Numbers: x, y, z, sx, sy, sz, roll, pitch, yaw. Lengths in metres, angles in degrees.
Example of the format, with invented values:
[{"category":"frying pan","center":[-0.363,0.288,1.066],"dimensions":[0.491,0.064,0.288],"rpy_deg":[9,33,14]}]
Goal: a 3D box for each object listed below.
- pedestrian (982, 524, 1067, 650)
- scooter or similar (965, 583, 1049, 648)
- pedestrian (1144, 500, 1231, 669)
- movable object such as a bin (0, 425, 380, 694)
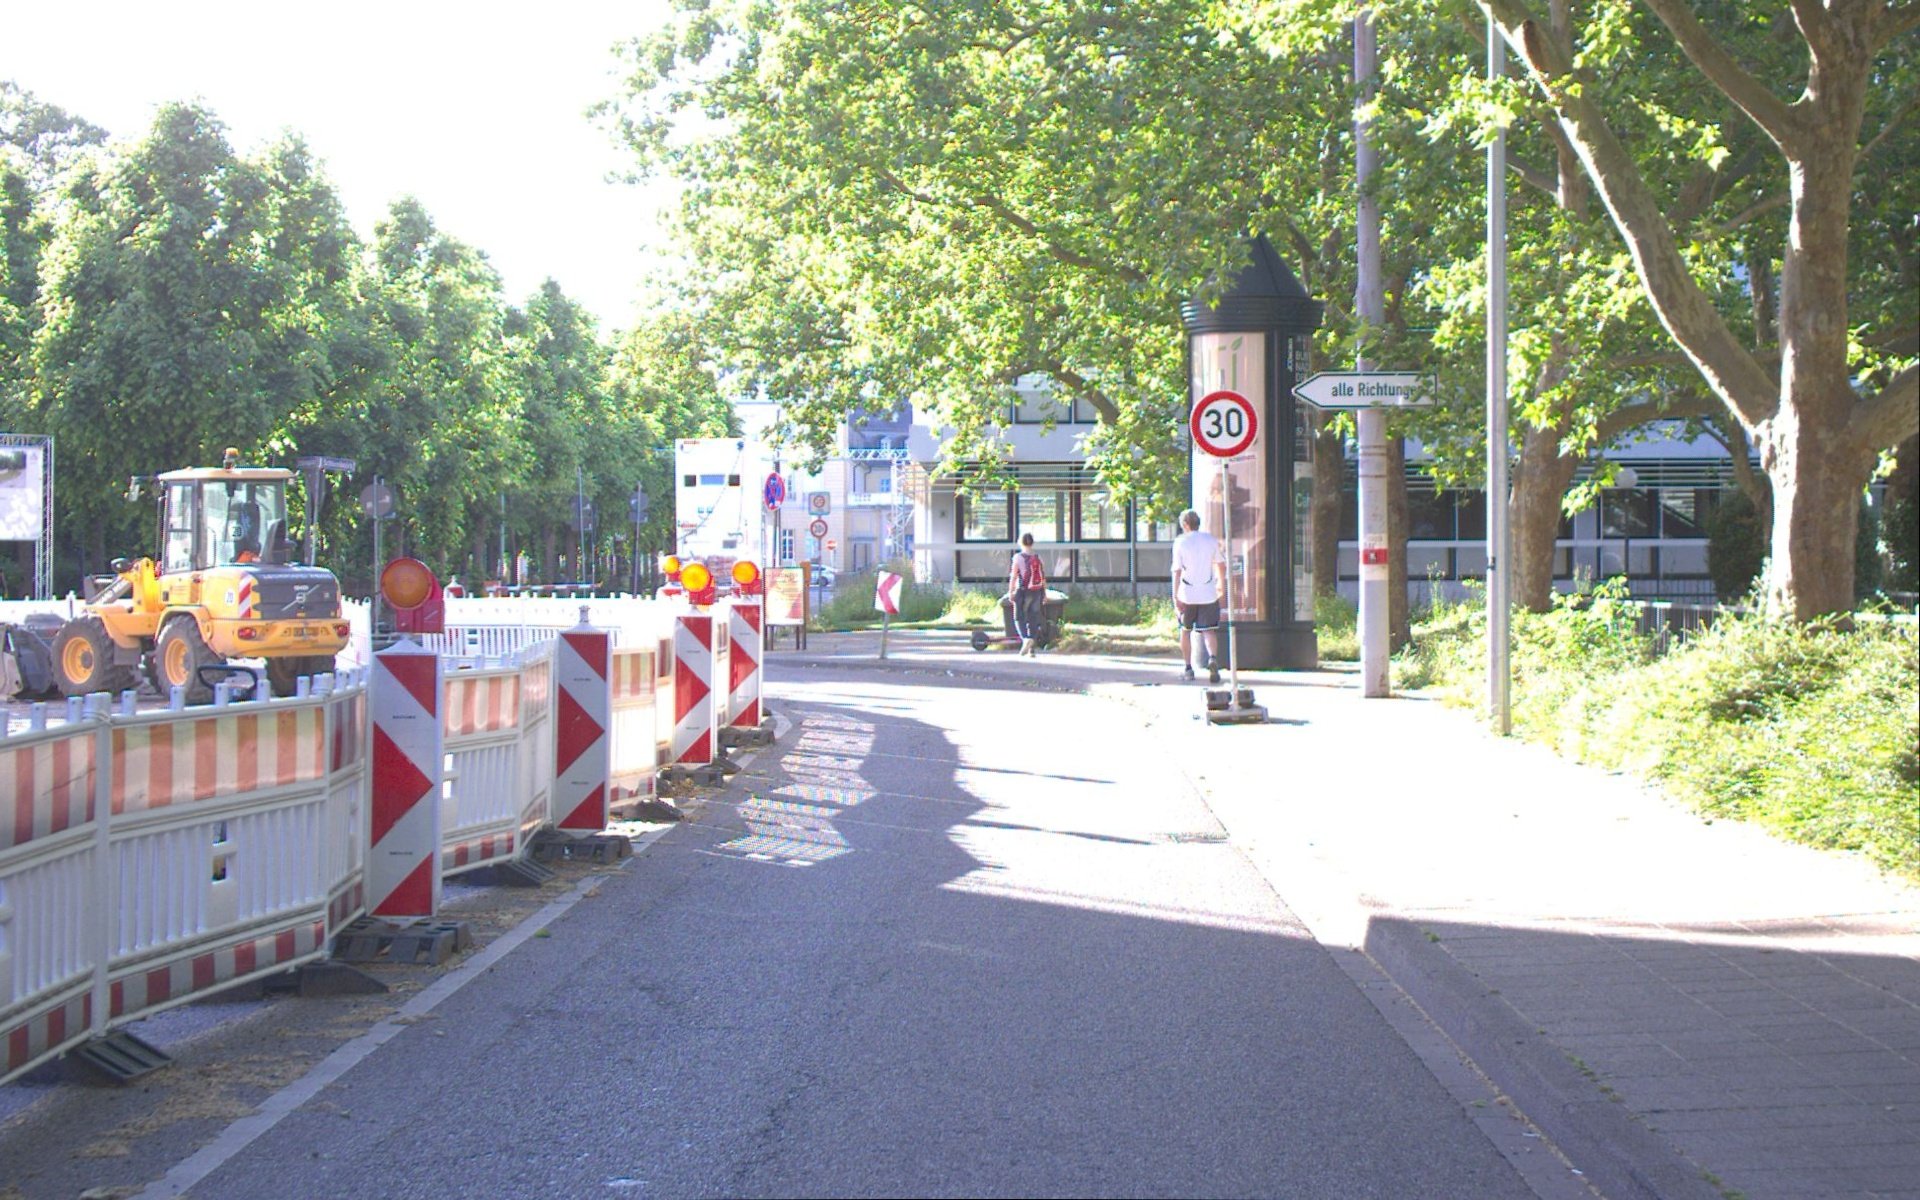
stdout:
[{"category":"pedestrian","center":[0.836,-0.172,44.643],"dimensions":[0.708,1.618,0.939],"rpy_deg":[0,0,-31]},{"category":"scooter or similar","center":[0.681,0.226,49.771],"dimensions":[1.146,0.911,0.419],"rpy_deg":[-2,0,-7]},{"category":"pedestrian","center":[2.481,-0.177,37.590],"dimensions":[0.745,1.806,1.134],"rpy_deg":[1,1,-4]},{"category":"movable object such as a bin","center":[-9.848,-0.474,41.544],"dimensions":[5.927,3.021,2.560],"rpy_deg":[0,1,45]}]
